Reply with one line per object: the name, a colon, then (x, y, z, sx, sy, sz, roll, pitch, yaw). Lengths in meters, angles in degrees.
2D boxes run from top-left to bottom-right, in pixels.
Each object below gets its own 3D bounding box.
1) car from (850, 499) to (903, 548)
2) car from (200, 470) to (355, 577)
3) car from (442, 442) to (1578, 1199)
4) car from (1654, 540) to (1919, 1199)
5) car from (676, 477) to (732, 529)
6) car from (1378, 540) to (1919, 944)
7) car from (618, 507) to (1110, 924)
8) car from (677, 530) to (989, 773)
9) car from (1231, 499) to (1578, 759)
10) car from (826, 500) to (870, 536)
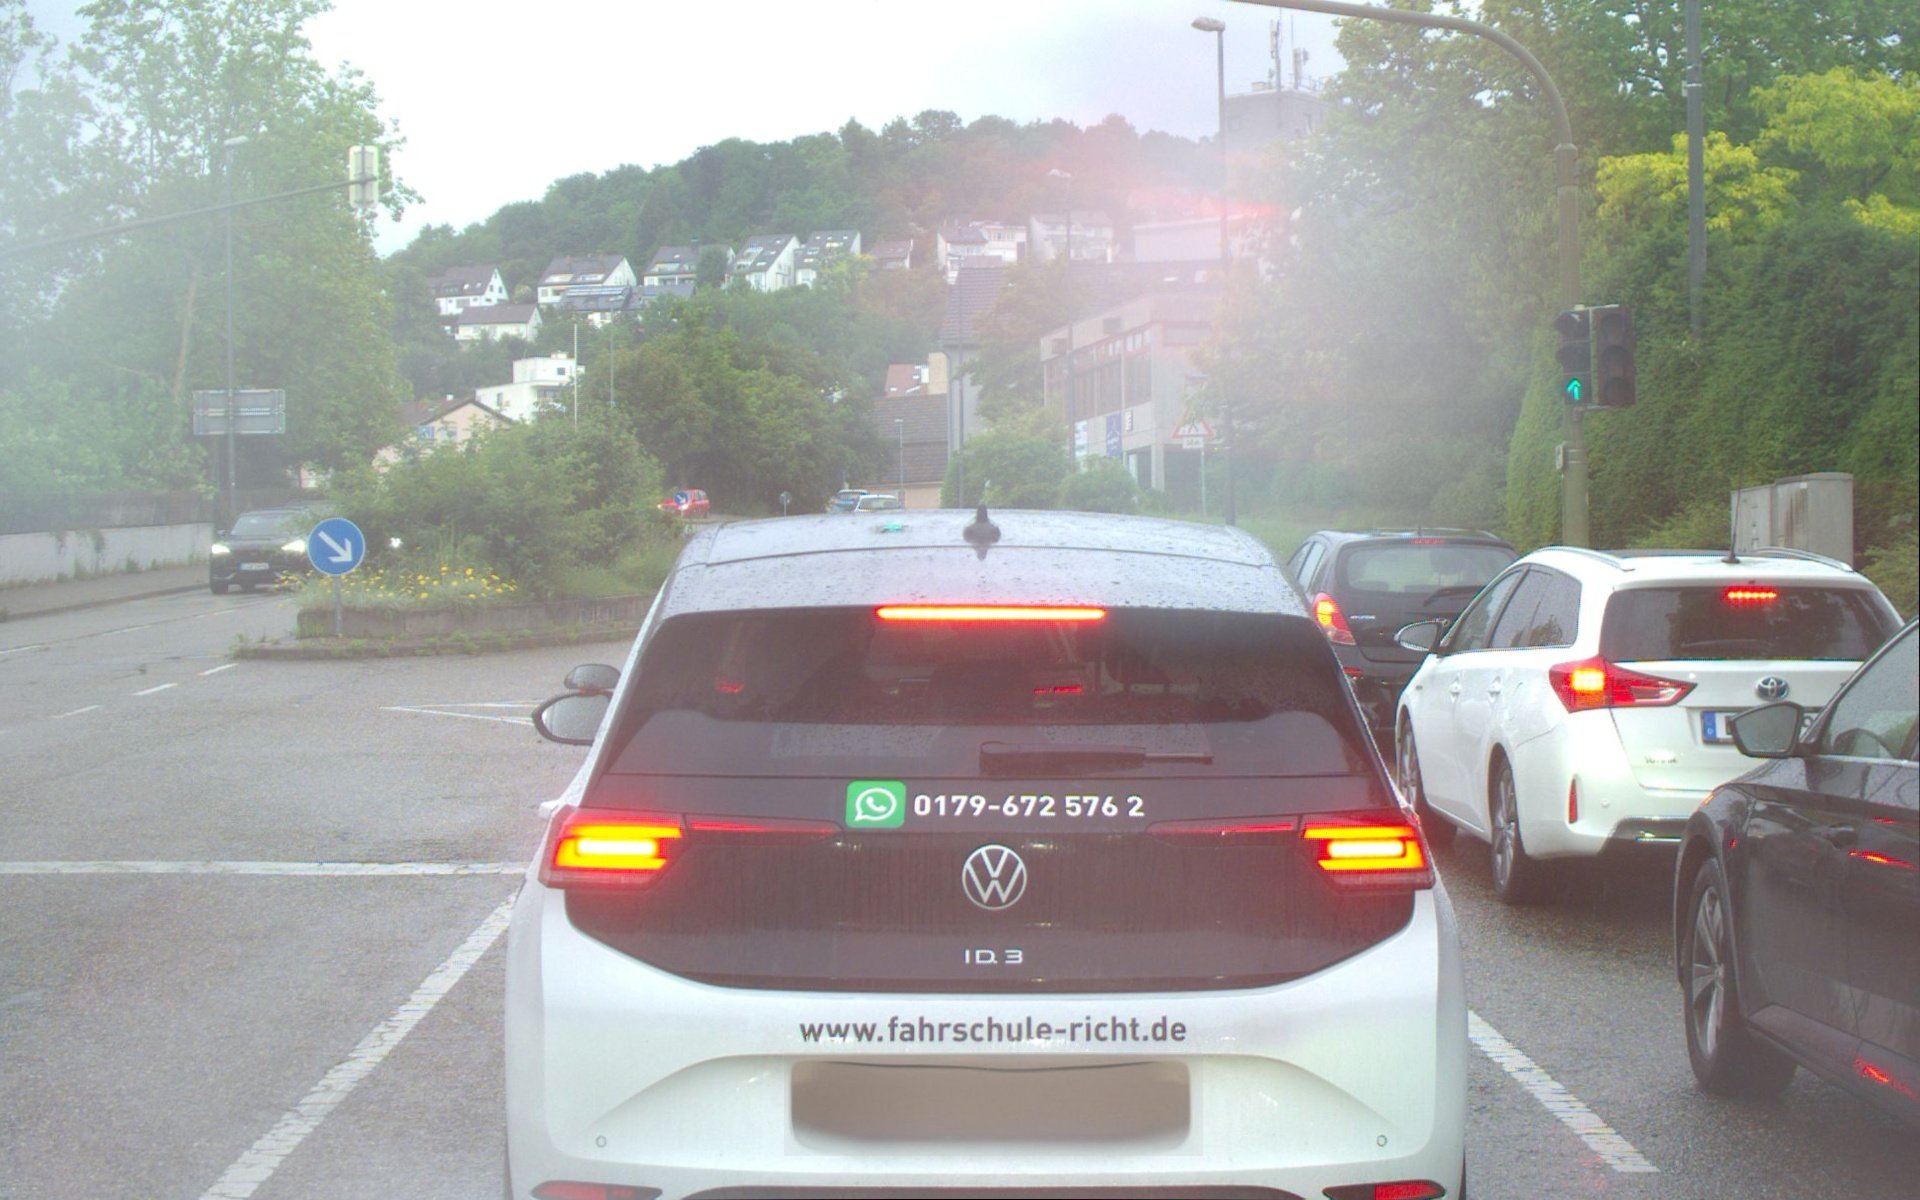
car: (-2.584, -2.358, 106.600, 1.581, 1.462, 4.000, -1, 1, -1)
car: (-12.470, -1.396, 63.066, 1.993, 1.798, 4.000, -3, 1, 0)
car: (0.030, 0.517, 7.953, 1.837, 1.623, 4.616, 1, 1, -1)
car: (2.860, 0.635, 7.492, 1.838, 1.461, 4.350, 1, 1, 1)
car: (-10.436, -3.932, 140.222, 1.993, 2.007, 4.000, 1, 0, 0)
car: (3.053, 0.506, 14.999, 1.837, 1.461, 4.117, 1, 1, -1)
car: (-0.407, 0.390, 15.166, 1.837, 1.549, 4.175, 1, 1, -1)
car: (-0.799, 0.272, 22.450, 1.837, 1.395, 3.831, 1, 1, -1)
car: (2.915, 0.155, 23.312, 1.775, 1.576, 4.000, 1, 1, 0)
car: (-4.645, -3.409, 142.184, 1.761, 1.413, 3.749, -1, 2, -3)
